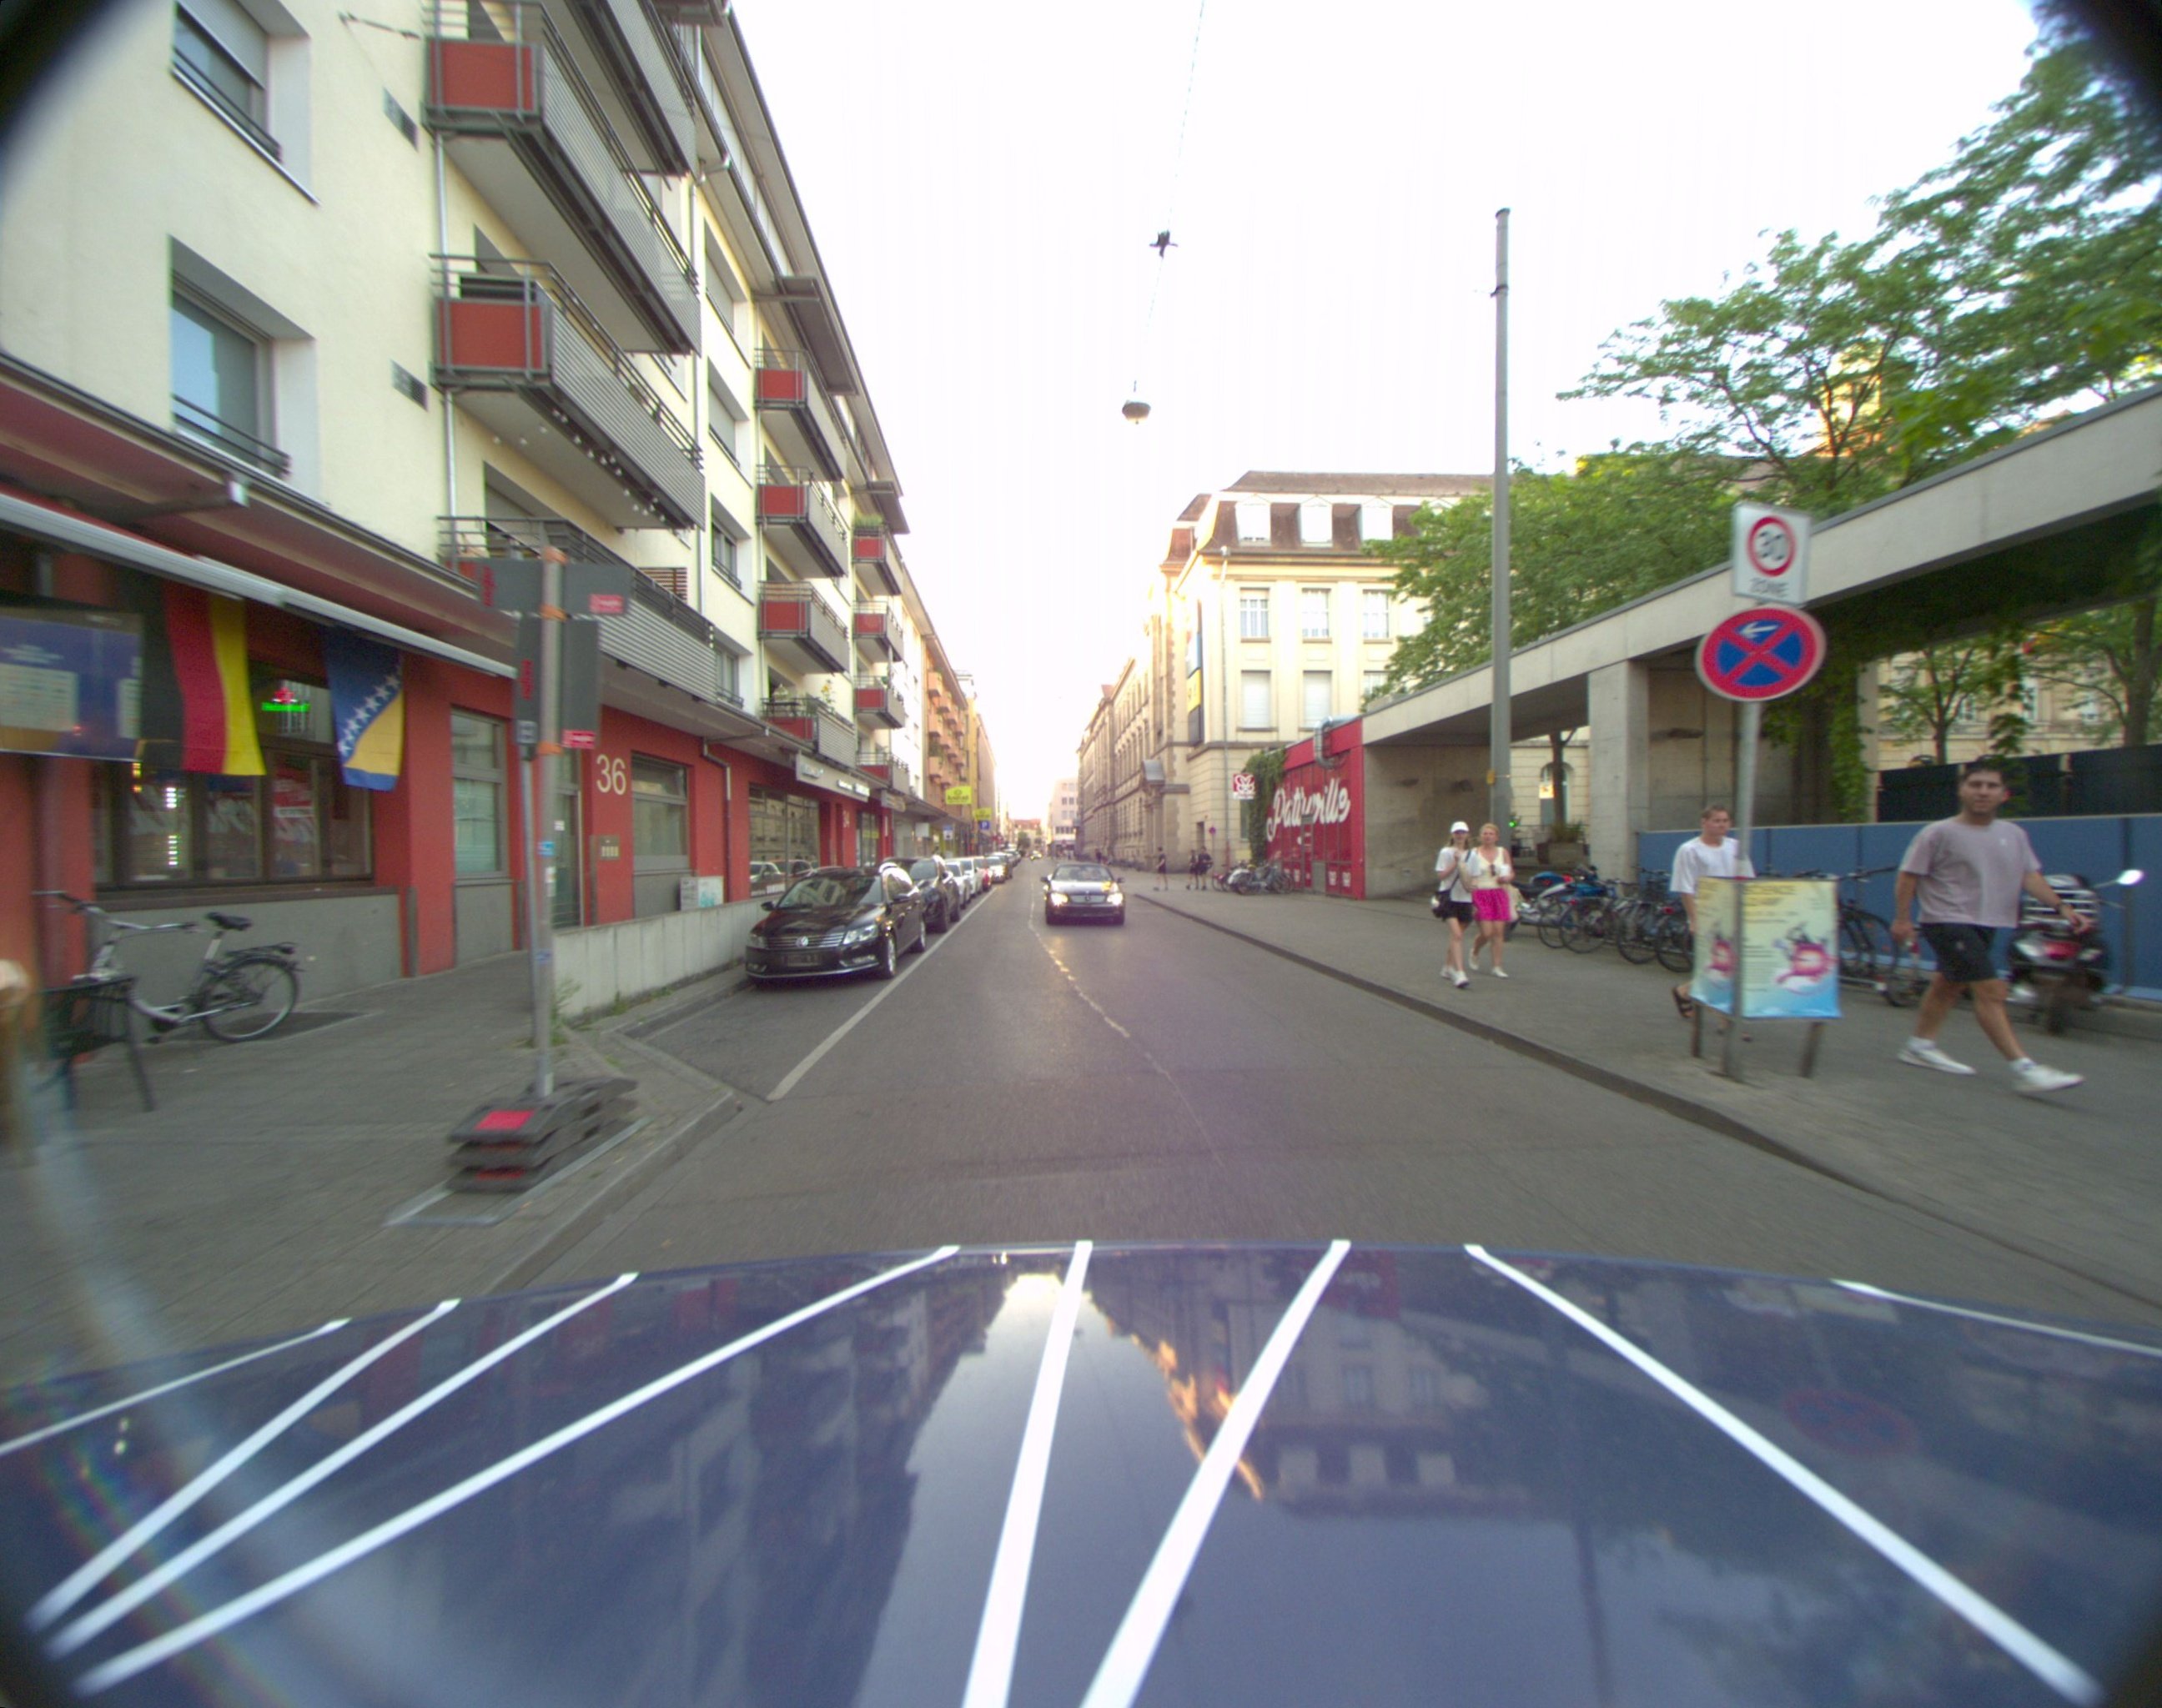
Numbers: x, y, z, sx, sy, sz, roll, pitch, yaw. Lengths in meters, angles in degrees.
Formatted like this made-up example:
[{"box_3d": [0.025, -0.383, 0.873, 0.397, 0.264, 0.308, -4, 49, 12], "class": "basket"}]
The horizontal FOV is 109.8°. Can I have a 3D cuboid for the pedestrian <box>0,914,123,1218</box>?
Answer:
[{"box_3d": [-5.300, 0.968, 3.483, 0.854, 1.271, 0.713, -1, 3, -25], "class": "pedestrian"}]

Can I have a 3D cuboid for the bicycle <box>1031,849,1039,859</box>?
[{"box_3d": [-6.762, 0.007, 111.935, 1.038, 1.513, 2.822, -1, 1, 1], "class": "bicycle"}]

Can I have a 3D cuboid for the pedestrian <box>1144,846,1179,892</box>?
[{"box_3d": [3.314, 0.596, 31.190, 1.009, 1.816, 0.944, -3, 1, -26], "class": "pedestrian"}]

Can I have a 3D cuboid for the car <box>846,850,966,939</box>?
[{"box_3d": [-3.785, 0.796, 17.150, 1.884, 1.689, 4.136, -2, 0, -3], "class": "car"}]

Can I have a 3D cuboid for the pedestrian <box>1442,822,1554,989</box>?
[{"box_3d": [4.697, 0.557, 8.603, 0.812, 1.783, 0.736, -2, 1, -1], "class": "pedestrian"}]

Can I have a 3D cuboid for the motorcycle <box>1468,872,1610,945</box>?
[{"box_3d": [7.100, 0.846, 11.871, 1.824, 1.063, 0.534, -2, 1, 25], "class": "motorcycle"}]

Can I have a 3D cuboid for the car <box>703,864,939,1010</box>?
[{"box_3d": [-3.440, 0.985, 11.117, 1.879, 1.543, 4.630, -2, 0, -1], "class": "car"}]

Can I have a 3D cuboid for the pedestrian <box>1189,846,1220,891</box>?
[{"box_3d": [4.933, 0.571, 30.384, 0.831, 1.717, 0.922, -1, 1, 40], "class": "pedestrian"}]

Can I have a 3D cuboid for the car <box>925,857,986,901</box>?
[{"box_3d": [-4.690, 0.886, 28.867, 1.768, 1.468, 3.946, -2, 0, -3], "class": "car"}]

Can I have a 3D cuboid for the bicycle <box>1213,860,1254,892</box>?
[{"box_3d": [5.799, 0.842, 28.881, 1.501, 1.134, 0.312, -2, 1, -12], "class": "bicycle"}]

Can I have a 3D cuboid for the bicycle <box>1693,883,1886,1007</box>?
[{"box_3d": [6.985, 0.875, 7.514, 1.497, 1.082, 0.547, -2, 1, -7], "class": "bicycle"}]

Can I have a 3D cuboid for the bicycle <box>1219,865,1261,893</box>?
[{"box_3d": [5.920, 0.915, 28.258, 1.501, 0.950, 0.312, -2, 1, -12], "class": "bicycle"}]

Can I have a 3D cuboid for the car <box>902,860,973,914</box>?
[{"box_3d": [-4.330, 0.951, 23.494, 1.753, 1.395, 3.965, -2, 0, -6], "class": "car"}]

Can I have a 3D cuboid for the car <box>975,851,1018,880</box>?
[{"box_3d": [-5.135, 0.656, 46.694, 1.998, 1.607, 4.367, -2, 0, 1], "class": "car"}]

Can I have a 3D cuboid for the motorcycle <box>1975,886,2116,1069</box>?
[{"box_3d": [7.429, 0.860, 5.831, 1.832, 1.120, 0.535, -3, 1, -34], "class": "motorcycle"}]

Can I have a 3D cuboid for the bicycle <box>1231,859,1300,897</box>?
[{"box_3d": [6.187, 0.802, 25.526, 2.180, 1.149, 0.445, -2, 1, 2], "class": "bicycle"}]

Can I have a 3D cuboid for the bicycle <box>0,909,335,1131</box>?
[{"box_3d": [-6.330, 1.003, 5.180, 0.550, 1.081, 2.005, -2, 0, -4], "class": "bicycle"}]

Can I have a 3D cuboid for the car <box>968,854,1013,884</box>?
[{"box_3d": [-4.816, 0.774, 40.979, 1.897, 1.468, 4.300, -2, 0, -1], "class": "car"}]

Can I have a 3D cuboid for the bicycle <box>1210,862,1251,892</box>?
[{"box_3d": [5.761, 0.866, 29.225, 1.501, 1.070, 0.312, -2, 1, -12], "class": "bicycle"}]

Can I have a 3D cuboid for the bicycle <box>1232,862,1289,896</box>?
[{"box_3d": [6.103, 0.848, 25.890, 1.844, 1.077, 0.354, -2, 1, 2], "class": "bicycle"}]

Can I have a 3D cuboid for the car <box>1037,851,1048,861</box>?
[{"box_3d": [-7.694, 0.425, 152.505, 1.998, 2.002, 4.000, -1, 1, 1], "class": "car"}]

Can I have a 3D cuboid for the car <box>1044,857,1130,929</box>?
[{"box_3d": [0.075, 0.825, 18.189, 1.809, 1.399, 4.615, 0, 1, -1], "class": "car"}]

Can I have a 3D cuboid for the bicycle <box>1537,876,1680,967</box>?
[{"box_3d": [6.817, 0.864, 9.858, 1.496, 1.082, 0.436, -2, 1, 3], "class": "bicycle"}]

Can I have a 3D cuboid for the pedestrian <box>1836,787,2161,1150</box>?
[{"box_3d": [5.352, 0.597, 4.428, 0.984, 1.872, 0.890, -2, 1, -1], "class": "pedestrian"}]

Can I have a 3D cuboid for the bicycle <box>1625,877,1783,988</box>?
[{"box_3d": [6.867, 0.849, 8.391, 1.497, 1.105, 0.410, -2, 1, -7], "class": "bicycle"}]

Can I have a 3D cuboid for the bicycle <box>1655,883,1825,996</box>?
[{"box_3d": [6.926, 0.881, 7.997, 1.497, 1.063, 0.442, -2, 1, -7], "class": "bicycle"}]

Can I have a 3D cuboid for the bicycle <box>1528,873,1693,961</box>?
[{"box_3d": [7.216, 0.843, 10.397, 1.872, 1.081, 0.550, -2, 1, -2], "class": "bicycle"}]

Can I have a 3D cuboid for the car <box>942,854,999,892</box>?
[{"box_3d": [-4.769, 0.776, 33.297, 1.867, 1.468, 4.393, -2, 0, -1], "class": "car"}]

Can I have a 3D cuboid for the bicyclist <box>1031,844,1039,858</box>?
[{"box_3d": [-6.758, -0.436, 111.877, 1.045, 2.002, 1.182, -1, 1, -1], "class": "bicyclist"}]

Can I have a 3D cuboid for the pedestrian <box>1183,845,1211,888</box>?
[{"box_3d": [4.796, 0.507, 31.471, 0.921, 1.717, 0.702, -2, 1, -8], "class": "pedestrian"}]

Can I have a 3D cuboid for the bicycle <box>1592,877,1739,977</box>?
[{"box_3d": [6.928, 0.846, 9.021, 1.497, 1.082, 0.410, -2, 1, -7], "class": "bicycle"}]

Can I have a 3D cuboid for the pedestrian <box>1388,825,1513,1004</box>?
[{"box_3d": [3.931, 0.608, 8.145, 0.851, 1.783, 0.869, -2, 1, -1], "class": "pedestrian"}]

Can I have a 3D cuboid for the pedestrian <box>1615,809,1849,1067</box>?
[{"box_3d": [4.909, 0.589, 5.805, 0.984, 1.783, 0.890, -2, 1, -1], "class": "pedestrian"}]

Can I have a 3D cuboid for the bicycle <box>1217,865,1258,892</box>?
[{"box_3d": [5.879, 0.917, 28.567, 1.501, 0.973, 0.312, -2, 1, -12], "class": "bicycle"}]

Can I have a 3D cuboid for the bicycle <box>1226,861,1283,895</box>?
[{"box_3d": [6.004, 0.835, 26.338, 1.844, 1.077, 0.354, -2, 1, 2], "class": "bicycle"}]

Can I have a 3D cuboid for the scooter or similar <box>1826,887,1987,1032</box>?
[{"box_3d": [7.198, 0.875, 6.619, 1.499, 1.082, 0.410, -2, 1, -21], "class": "scooter or similar"}]
